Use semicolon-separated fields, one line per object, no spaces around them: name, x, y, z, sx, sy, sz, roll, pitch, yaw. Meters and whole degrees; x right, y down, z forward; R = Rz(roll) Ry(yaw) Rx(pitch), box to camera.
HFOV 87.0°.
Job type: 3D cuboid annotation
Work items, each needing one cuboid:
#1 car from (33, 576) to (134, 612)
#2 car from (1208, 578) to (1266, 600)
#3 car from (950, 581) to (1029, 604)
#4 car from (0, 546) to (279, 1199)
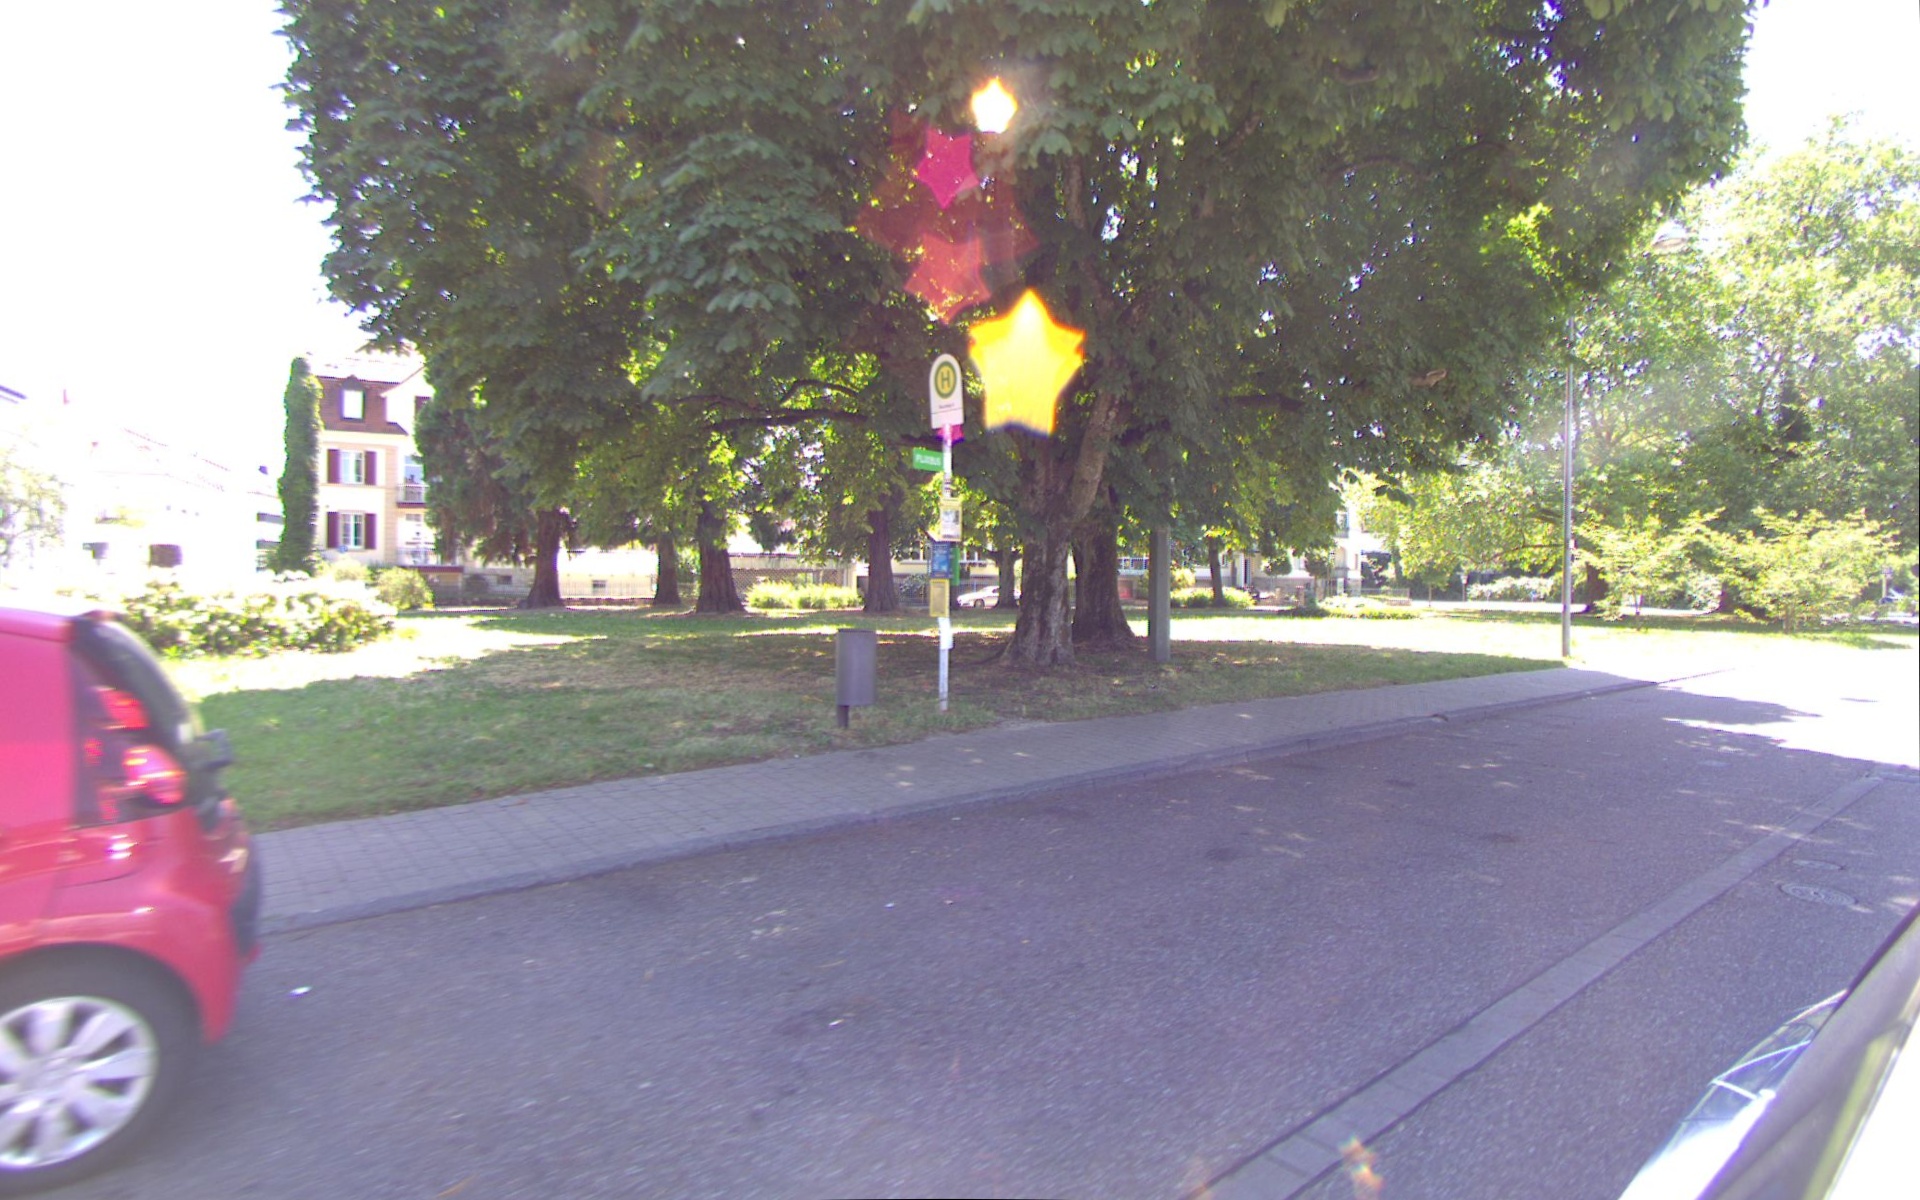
car;-38.408;-0.297;44.465;1.437;1.450;3.710;1;2;-4
car;21.529;-0.867;78.833;1.962;1.587;4.000;0;2;-36
car;1.846;-0.502;62.530;4.618;1.303;1.674;-1;2;-26
car;-3.729;0.610;2.230;3.637;1.497;1.724;0;2;-37
